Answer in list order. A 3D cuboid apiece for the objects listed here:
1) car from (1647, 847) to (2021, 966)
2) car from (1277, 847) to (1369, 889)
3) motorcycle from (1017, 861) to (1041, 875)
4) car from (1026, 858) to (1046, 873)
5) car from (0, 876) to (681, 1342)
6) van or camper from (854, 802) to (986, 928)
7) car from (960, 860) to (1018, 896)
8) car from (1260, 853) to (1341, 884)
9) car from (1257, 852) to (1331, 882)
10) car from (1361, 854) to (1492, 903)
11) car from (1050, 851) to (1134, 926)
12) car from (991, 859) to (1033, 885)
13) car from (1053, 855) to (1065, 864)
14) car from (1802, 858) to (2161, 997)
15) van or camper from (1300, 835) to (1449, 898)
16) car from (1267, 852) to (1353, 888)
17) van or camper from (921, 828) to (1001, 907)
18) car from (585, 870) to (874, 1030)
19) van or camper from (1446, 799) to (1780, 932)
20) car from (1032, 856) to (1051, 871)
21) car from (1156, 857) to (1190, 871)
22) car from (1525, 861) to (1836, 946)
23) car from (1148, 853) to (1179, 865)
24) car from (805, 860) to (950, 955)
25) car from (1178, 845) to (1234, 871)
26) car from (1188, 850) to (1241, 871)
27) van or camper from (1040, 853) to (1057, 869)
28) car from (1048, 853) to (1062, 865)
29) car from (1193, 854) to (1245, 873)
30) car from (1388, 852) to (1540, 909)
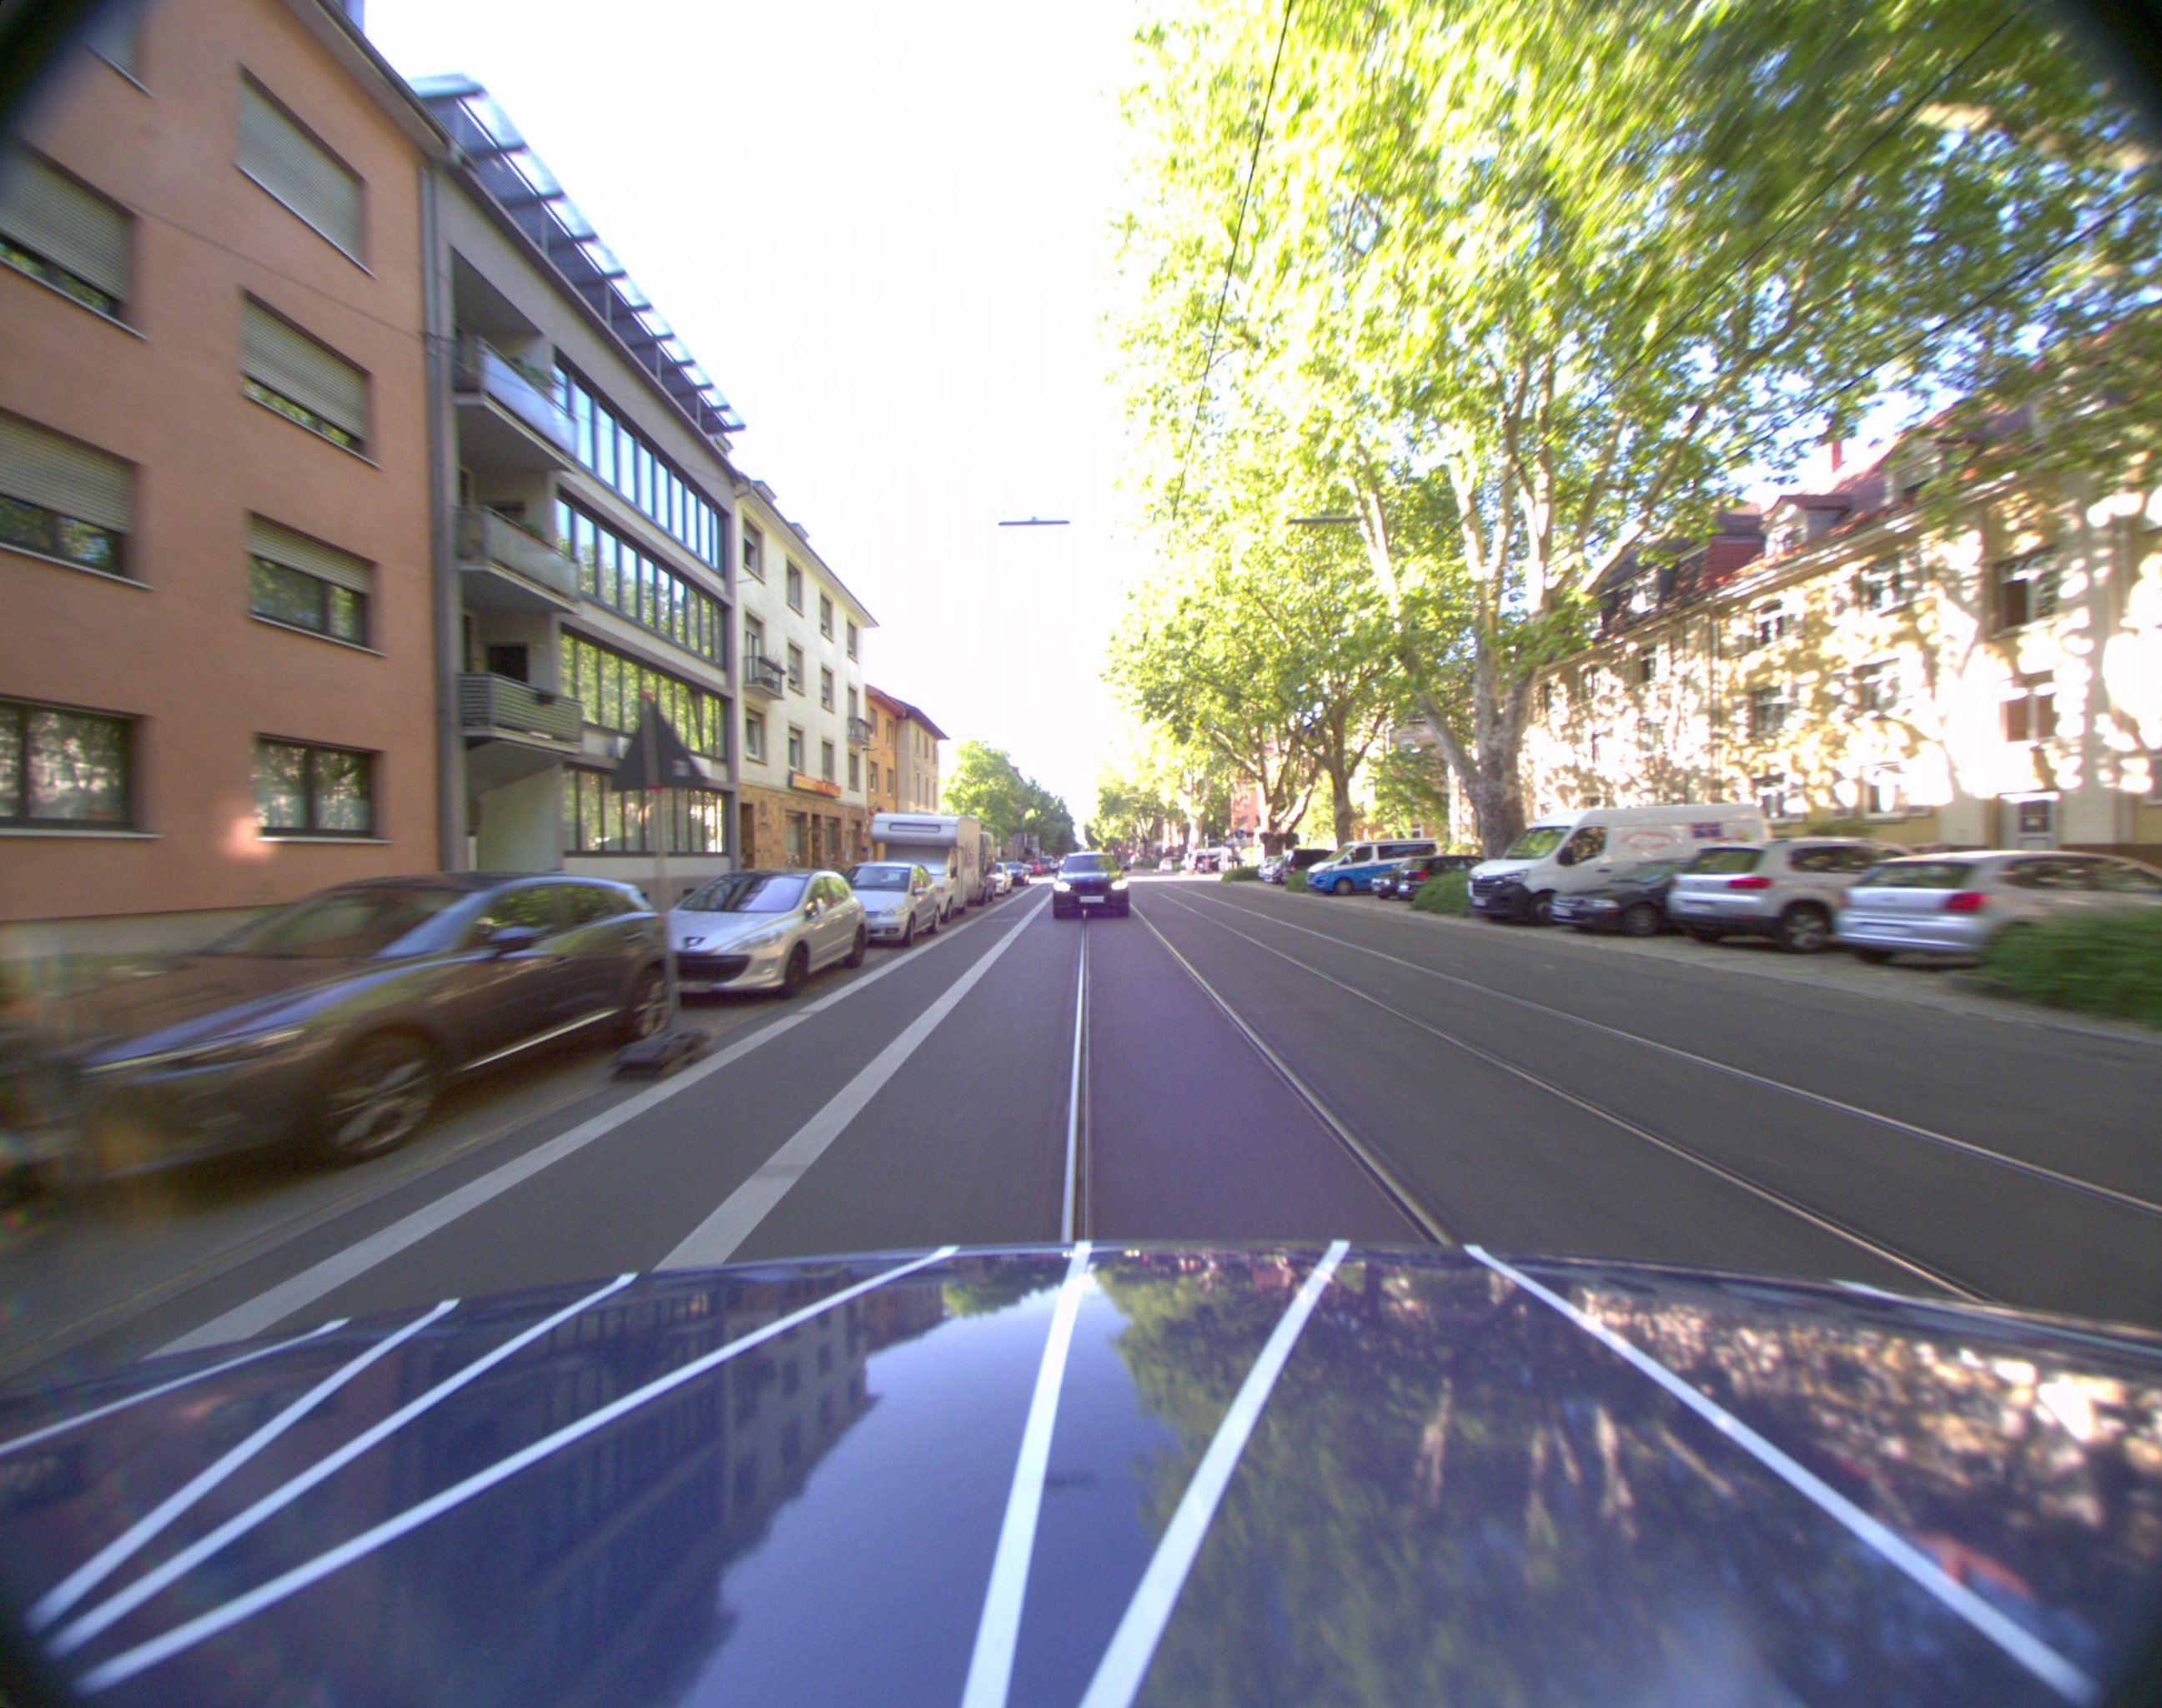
[{"bbox_3d":[11.281,0.741,11.625,3.857,1.653,1.862,-1,0,1],"label":"car"},{"bbox_3d":[11.229,0.638,35.431,3.691,1.804,1.704,-2,0,0],"label":"car"},{"bbox_3d":[-4.650,1.228,68.081,2.071,1.152,0.828,2,1,4],"label":"motorcycle"},{"bbox_3d":[-4.216,1.064,71.623,1.607,1.372,3.864,1,0,0],"label":"car"},{"bbox_3d":[-4.662,1.003,4.966,1.772,1.563,4.337,1,0,0],"label":"car"},{"bbox_3d":[-4.336,0.259,21.723,2.468,3.046,6.267,1,0,-1],"label":"van or camper"},{"bbox_3d":[-4.182,1.052,35.283,1.998,1.485,4.740,1,0,1],"label":"car"},{"bbox_3d":[11.495,0.731,39.924,3.693,1.477,1.701,-2,0,-6],"label":"car"},{"bbox_3d":[11.819,0.735,42.366,3.689,1.545,1.704,-2,0,6],"label":"car"},{"bbox_3d":[11.362,0.768,25.090,3.540,1.451,1.695,-2,0,-6],"label":"car"},{"bbox_3d":[0.280,0.814,20.405,1.924,1.741,4.806,-2,0,0],"label":"car"},{"bbox_3d":[-4.045,1.037,45.362,1.998,1.372,4.739,1,0,0],"label":"car"},{"bbox_3d":[-3.685,0.915,125.542,1.781,1.489,4.372,1,0,0],"label":"car"},{"bbox_3d":[11.670,0.820,9.317,3.857,1.489,1.862,-1,0,1],"label":"car"},{"bbox_3d":[11.080,0.447,28.977,4.832,2.177,2.119,-2,0,0],"label":"van or camper"},{"bbox_3d":[11.339,0.774,37.782,3.692,1.615,1.799,-2,0,-4],"label":"car"},{"bbox_3d":[-4.364,0.454,28.474,2.138,2.647,4.979,1,0,0],"label":"van or camper"},{"bbox_3d":[-4.180,1.028,9.930,1.793,1.513,4.321,1,0,-1],"label":"car"},{"bbox_3d":[11.142,0.230,16.285,5.403,2.501,2.445,-2,0,0],"label":"van or camper"},{"bbox_3d":[-4.160,0.964,80.896,1.694,1.478,4.143,1,0,0],"label":"car"},{"bbox_3d":[11.317,1.239,93.498,3.966,1.506,1.810,-2,0,-1],"label":"car"},{"bbox_3d":[10.736,0.854,13.844,4.274,1.390,1.753,-1,0,1],"label":"car"},{"bbox_3d":[11.229,0.702,103.936,3.966,1.506,1.810,-2,0,-1],"label":"car"},{"bbox_3d":[-3.992,0.977,15.661,1.797,1.618,4.276,1,0,0],"label":"car"},{"bbox_3d":[12.263,0.371,74.784,5.019,2.383,2.028,-2,0,-1],"label":"car"},{"bbox_3d":[12.081,0.623,68.904,4.464,1.755,2.028,-2,0,-1],"label":"car"},{"bbox_3d":[-4.091,0.830,95.601,1.882,1.873,4.923,1,0,0],"label":"van or camper"},{"bbox_3d":[-3.823,0.695,111.196,1.815,1.701,4.372,1,0,0],"label":"car"},{"bbox_3d":[12.023,0.822,66.252,4.170,1.506,1.925,-2,0,-1],"label":"car"},{"bbox_3d":[11.365,0.761,22.692,3.690,1.556,1.613,-2,0,2],"label":"car"}]
